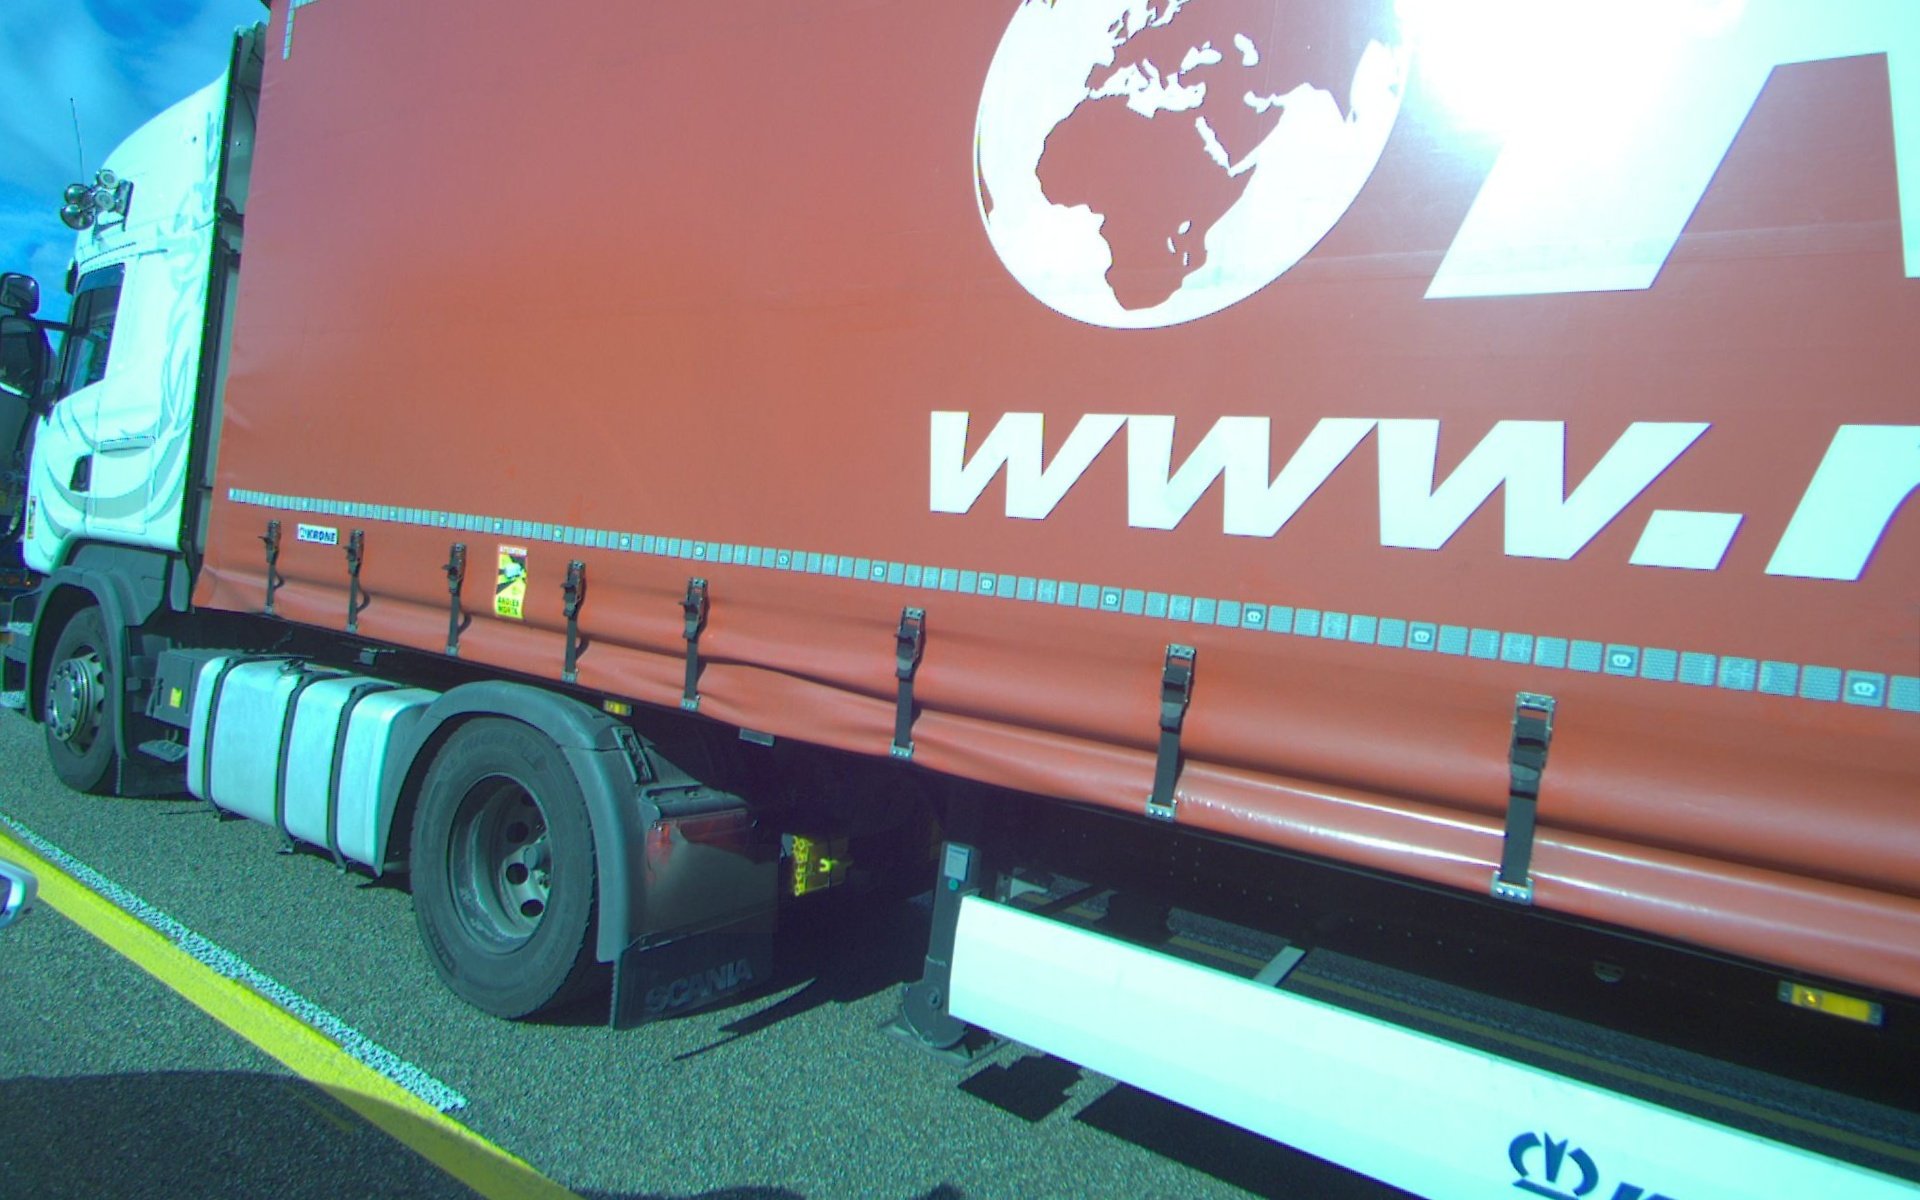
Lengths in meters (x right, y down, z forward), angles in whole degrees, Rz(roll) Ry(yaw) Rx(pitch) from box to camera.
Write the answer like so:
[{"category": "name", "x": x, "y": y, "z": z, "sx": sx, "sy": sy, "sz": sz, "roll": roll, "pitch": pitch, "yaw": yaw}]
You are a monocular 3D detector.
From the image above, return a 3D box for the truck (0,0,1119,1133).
[{"category": "truck", "x": -2.483, "y": -0.605, "z": 5.514, "sx": 5.615, "sy": 4.006, "sz": 2.673, "roll": 7, "pitch": -1, "yaw": 31}]

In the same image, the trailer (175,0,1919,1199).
[{"category": "trailer", "x": 3.252, "y": 0.050, "z": 1.988, "sx": 13.192, "sy": 4.015, "sz": 2.705, "roll": 7, "pitch": -1, "yaw": 31}]

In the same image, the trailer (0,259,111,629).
[{"category": "trailer", "x": -16.139, "y": -2.386, "z": 13.913, "sx": 12.388, "sy": 3.989, "sz": 2.649, "roll": 7, "pitch": -1, "yaw": 32}]
